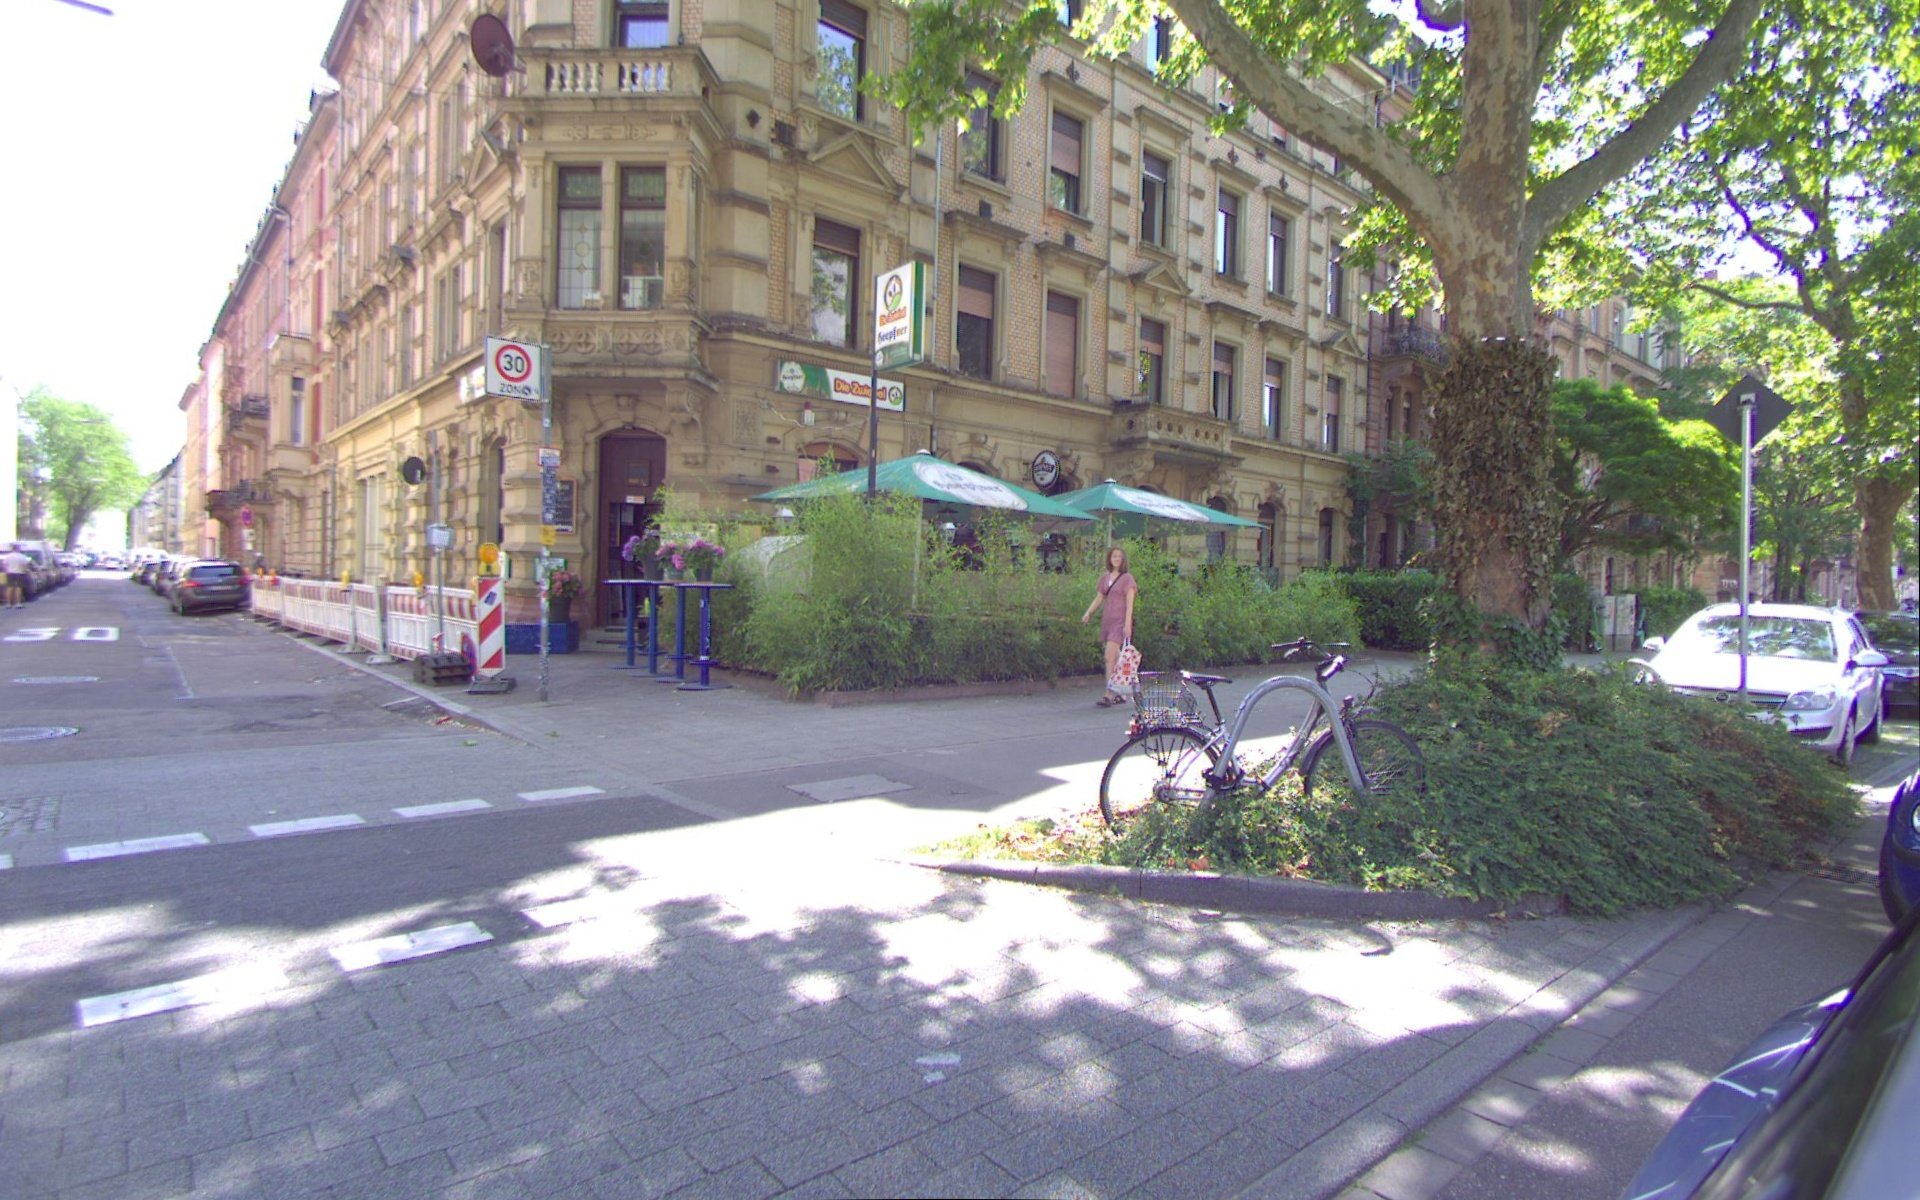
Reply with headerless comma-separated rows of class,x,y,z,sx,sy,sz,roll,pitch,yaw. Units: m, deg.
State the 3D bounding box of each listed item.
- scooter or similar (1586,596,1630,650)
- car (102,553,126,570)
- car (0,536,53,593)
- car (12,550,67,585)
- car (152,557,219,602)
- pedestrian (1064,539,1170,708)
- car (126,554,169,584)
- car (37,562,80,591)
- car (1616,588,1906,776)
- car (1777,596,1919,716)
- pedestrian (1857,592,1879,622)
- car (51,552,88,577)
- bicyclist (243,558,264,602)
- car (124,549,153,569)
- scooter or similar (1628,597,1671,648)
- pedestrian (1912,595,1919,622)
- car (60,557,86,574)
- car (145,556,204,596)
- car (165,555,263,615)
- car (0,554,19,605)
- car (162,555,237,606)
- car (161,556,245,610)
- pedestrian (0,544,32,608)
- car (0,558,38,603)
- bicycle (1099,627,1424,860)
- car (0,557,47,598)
scooter or similar,15.823,0.546,24.700,1.124,1.263,0.583,1,1,-40
car,-91.837,-4.175,109.858,1.965,1.760,3.995,1,1,-41
car,-41.400,-1.560,44.602,1.879,2.403,4.244,1,1,-39
car,-48.621,-1.735,53.522,1.879,1.731,4.159,1,1,-39
car,-32.012,-0.862,41.801,1.965,1.760,3.995,0,1,-41
pedestrian,1.770,0.238,11.432,0.837,1.807,0.738,1,3,-41
car,-51.004,-1.953,63.484,1.965,1.760,3.995,0,1,-41
car,-57.836,-1.516,64.975,1.879,1.731,4.159,1,1,-39
car,8.608,0.683,10.715,4.418,1.527,1.835,0,2,-44
car,14.046,0.752,15.271,4.561,1.527,1.837,0,2,-40
pedestrian,52.422,0.400,58.440,0.951,1.740,0.796,1,1,-41
car,-64.445,-2.598,73.252,1.879,1.731,4.157,1,1,-40
bicyclist,-24.258,-0.690,34.743,0.523,1.471,0.460,1,1,-40
car,-75.629,-3.804,93.141,1.965,1.760,3.995,1,1,-41
scooter or similar,17.943,0.576,26.334,1.124,1.298,0.583,1,1,-39
pedestrian,63.344,0.556,66.683,0.951,1.740,0.796,1,1,-41
car,-77.420,-3.027,88.353,1.641,1.419,3.357,0,1,-40
car,-36.254,-1.133,46.674,1.965,1.760,3.995,0,1,-41
car,-21.406,-0.463,28.991,1.965,1.571,3.995,0,2,-41
car,-30.831,-0.683,31.824,1.698,1.548,3.490,1,1,-42
car,-28.332,-0.744,37.641,1.965,1.760,3.995,0,1,-41
car,-25.328,-0.594,33.818,1.965,1.660,3.995,0,2,-41
pedestrian,-27.507,-0.687,29.289,0.921,1.821,1.036,1,1,-44
car,-34.219,-0.727,36.232,1.698,1.548,3.490,0,1,-42
bicycle,1.566,0.726,5.301,1.583,1.119,0.423,1,1,-10
car,-38.027,-0.930,40.857,1.698,1.548,3.490,1,1,-42
